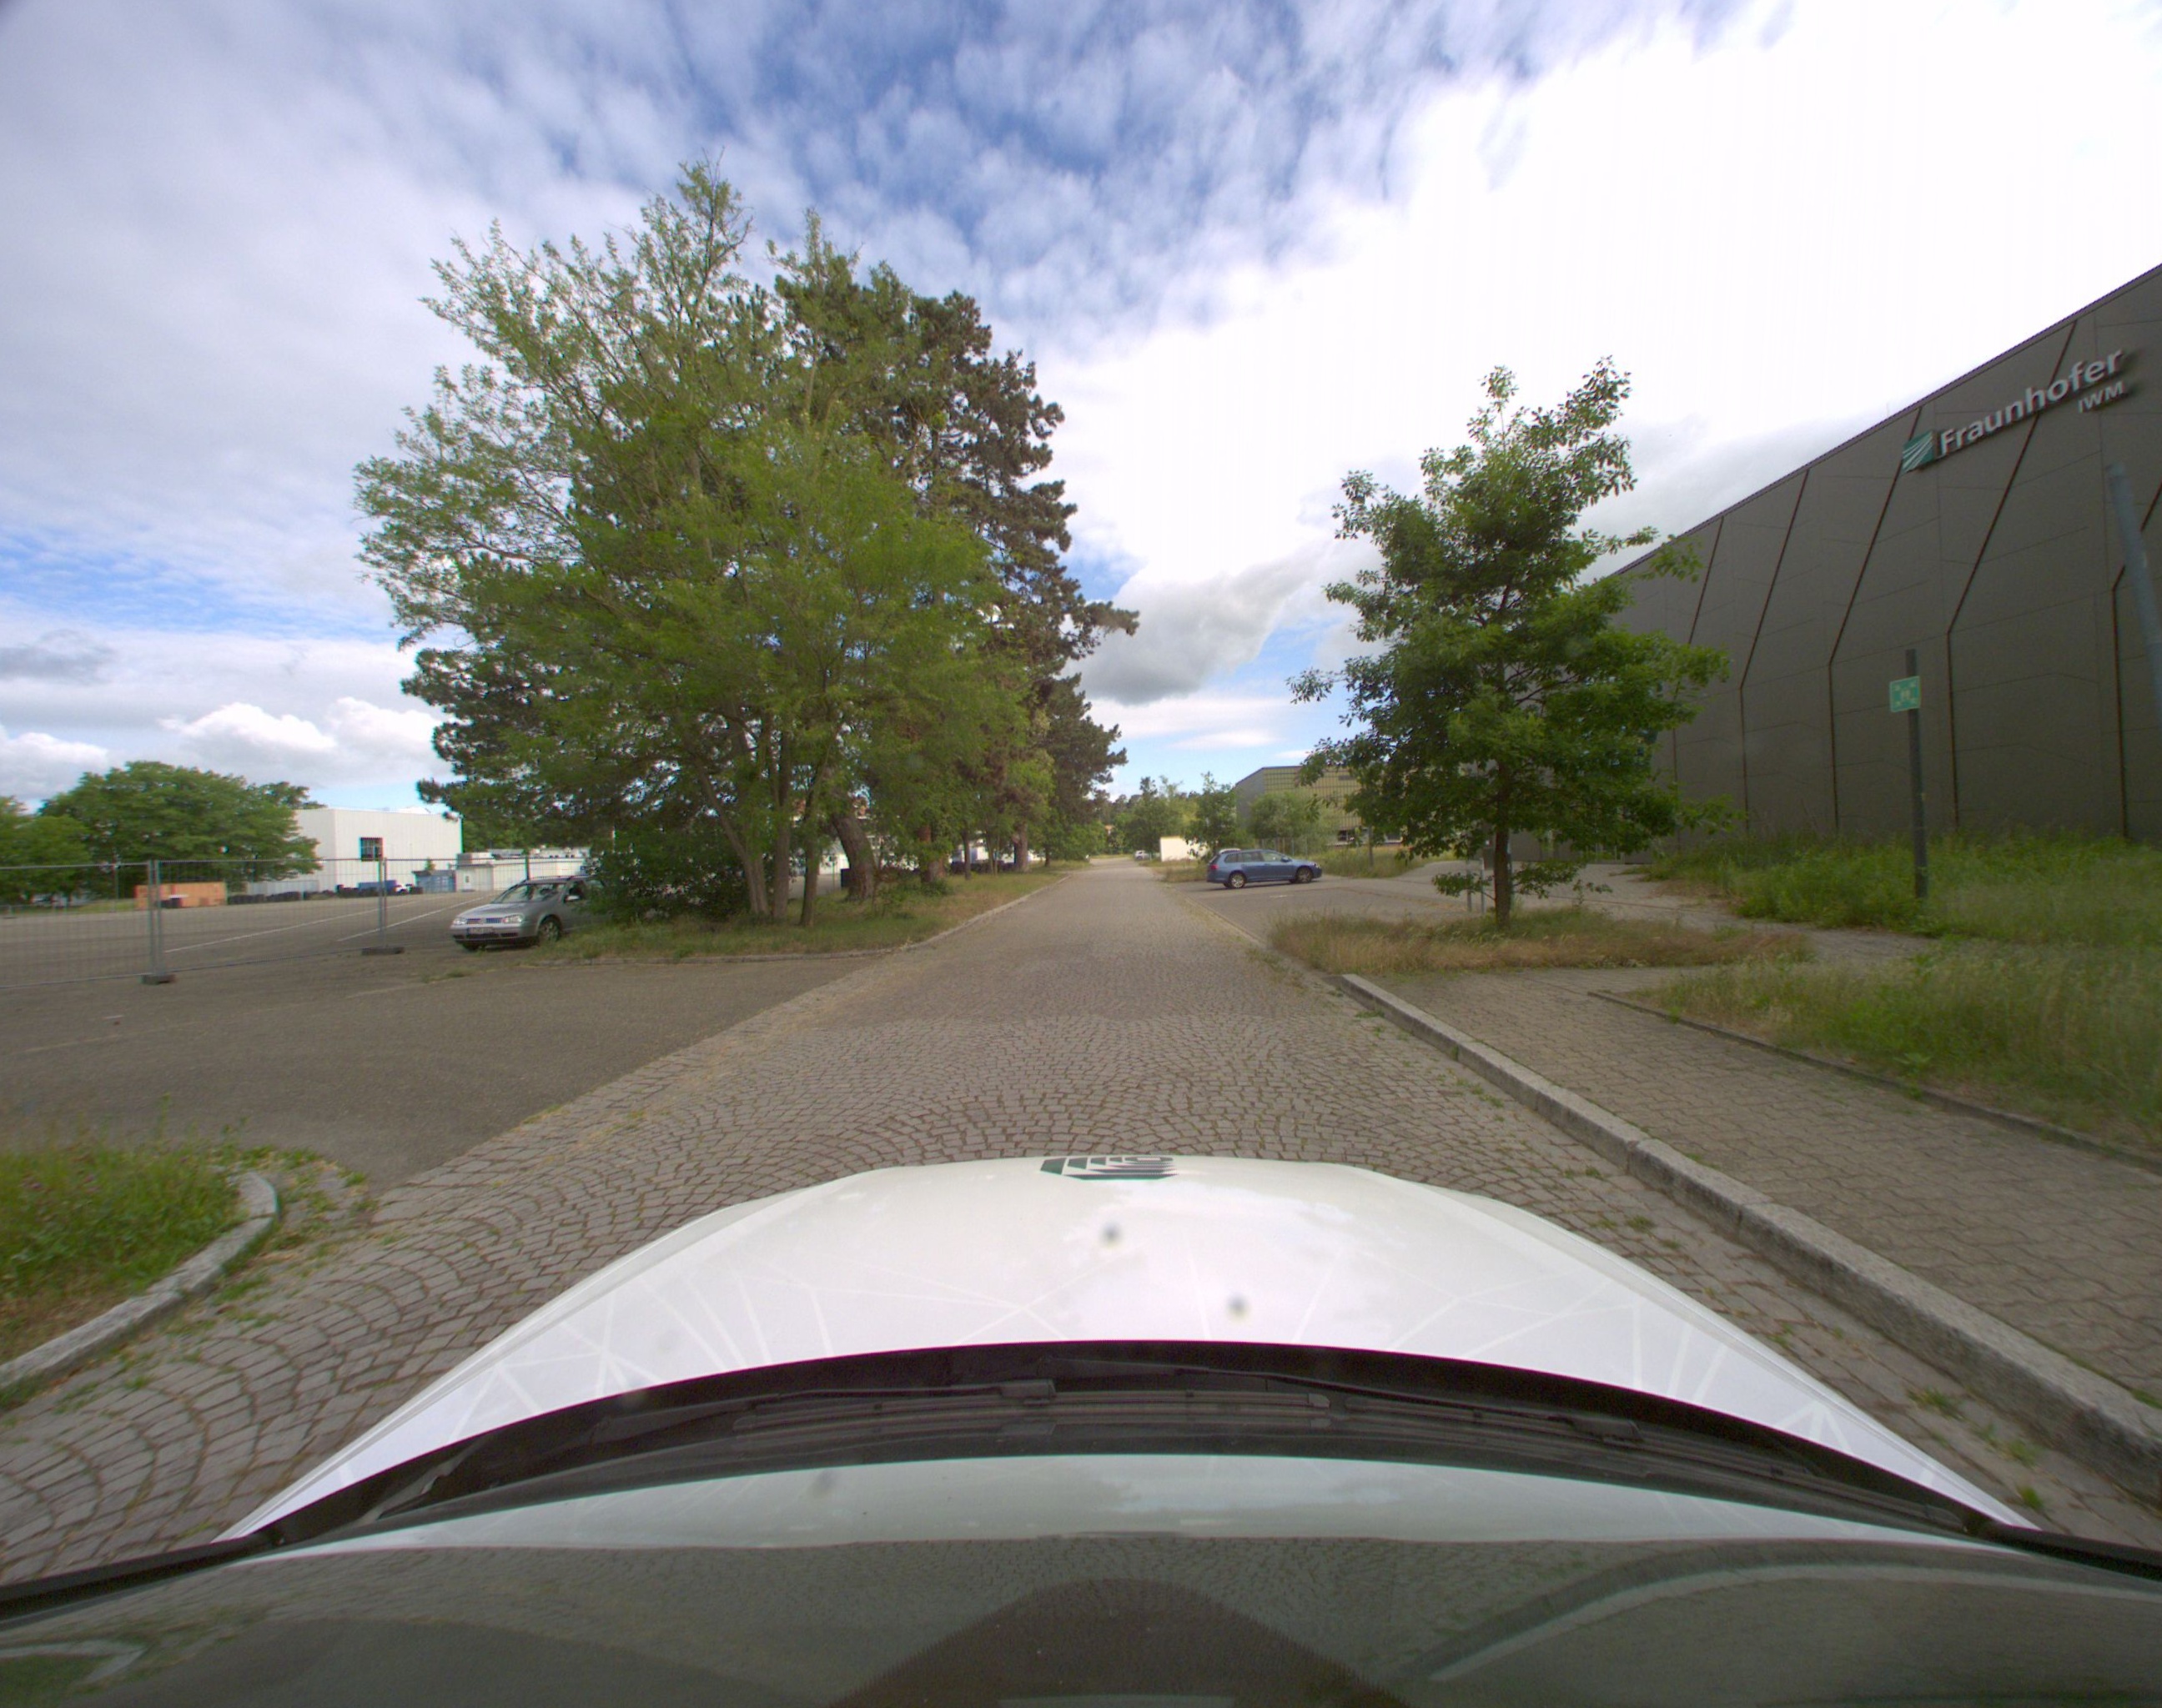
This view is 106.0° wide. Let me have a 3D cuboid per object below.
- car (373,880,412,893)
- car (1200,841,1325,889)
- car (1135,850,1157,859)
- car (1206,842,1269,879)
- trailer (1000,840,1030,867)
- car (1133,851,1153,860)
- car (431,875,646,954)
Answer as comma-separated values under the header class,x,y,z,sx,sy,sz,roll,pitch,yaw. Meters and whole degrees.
class,x,y,z,sx,sy,sz,roll,pitch,yaw
car,-98.243,4.630,116.249,4.088,1.633,1.832,-2,0,3
car,7.118,0.426,32.300,4.477,1.475,1.830,-5,0,-1
car,12.067,0.113,152.101,3.968,1.448,1.654,-4,0,3
car,7.609,0.331,39.794,2.698,1.556,1.655,-5,0,3
trailer,-9.625,-0.068,119.886,2.613,3.598,10.191,-2,0,5
car,11.409,0.247,149.427,3.508,1.362,1.624,-4,0,3
car,-11.947,1.252,18.370,1.818,1.416,4.421,-1,0,0
